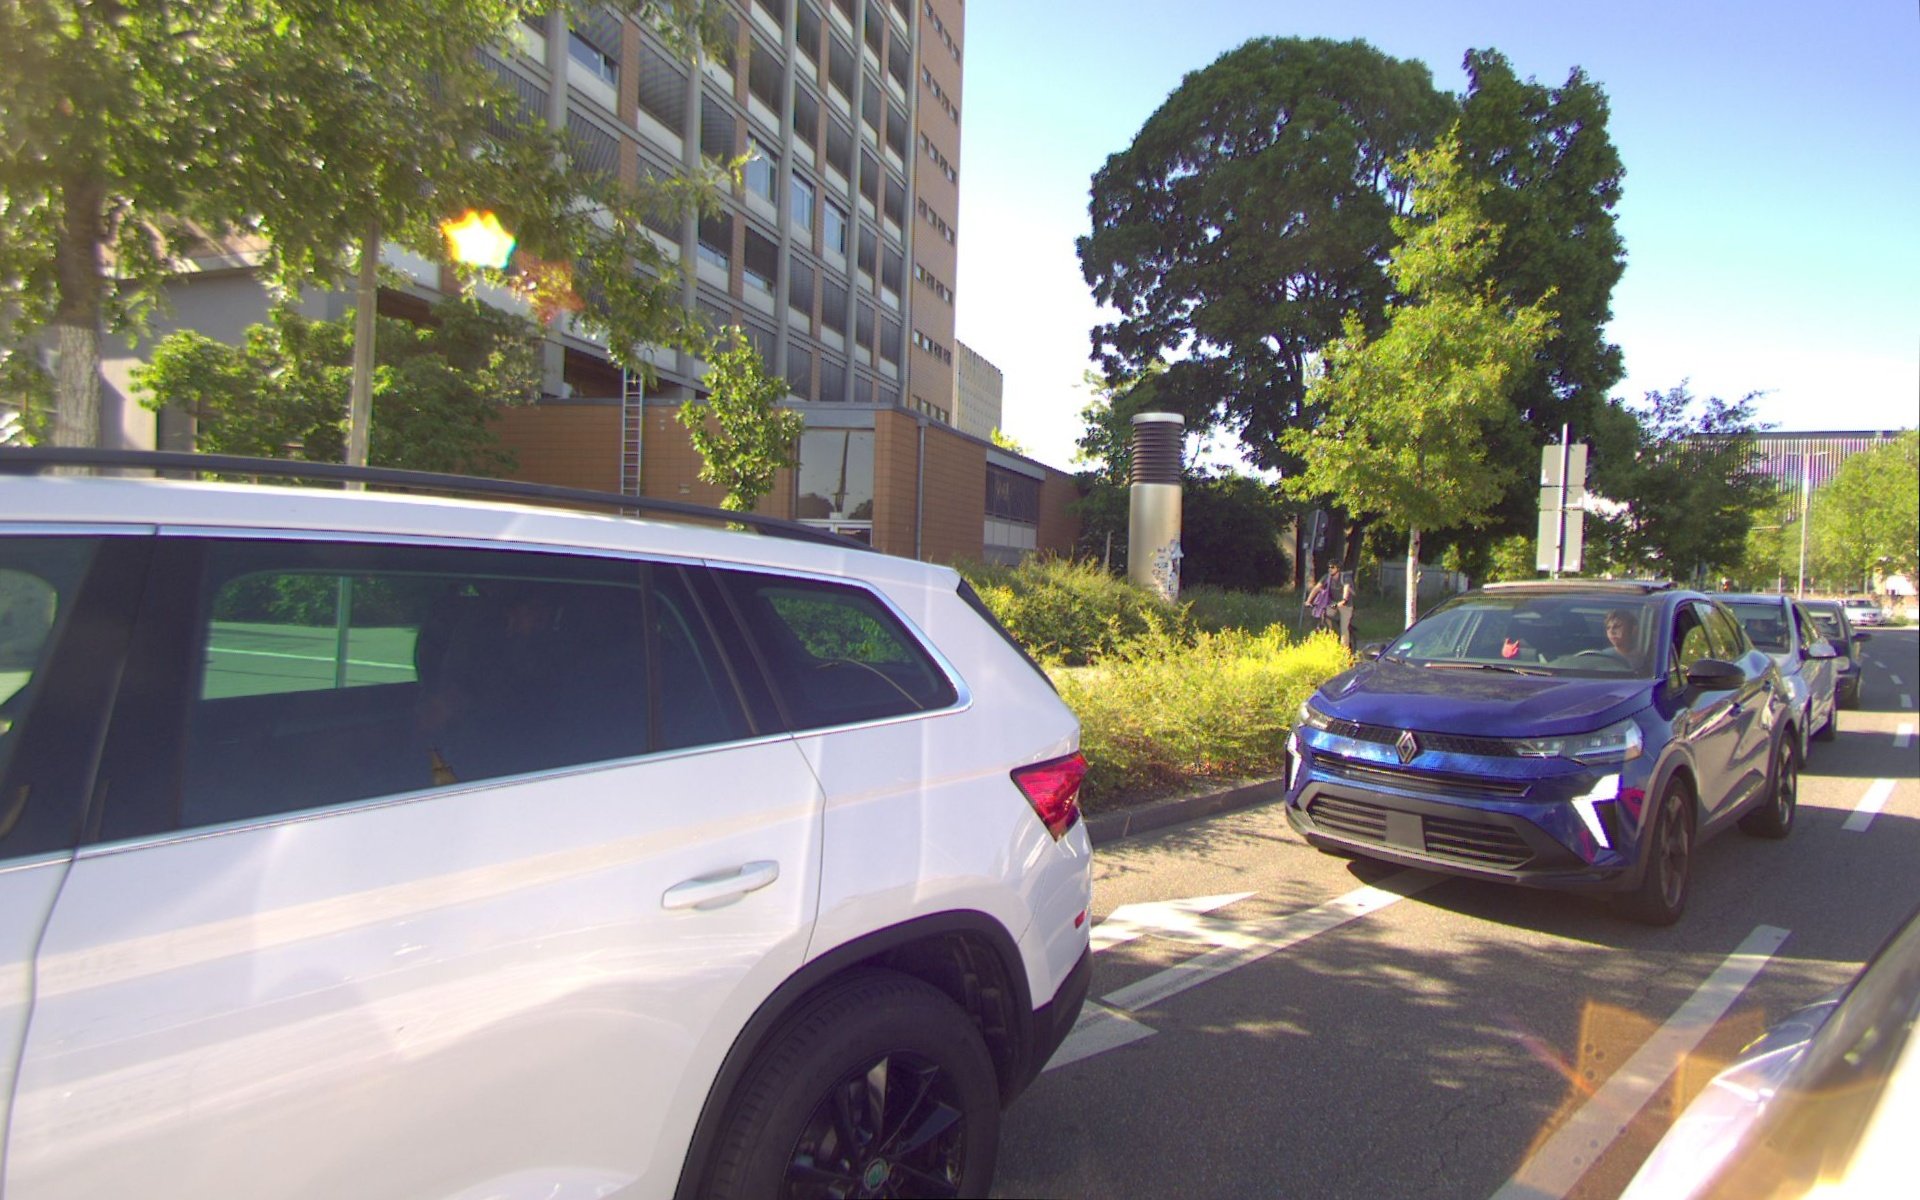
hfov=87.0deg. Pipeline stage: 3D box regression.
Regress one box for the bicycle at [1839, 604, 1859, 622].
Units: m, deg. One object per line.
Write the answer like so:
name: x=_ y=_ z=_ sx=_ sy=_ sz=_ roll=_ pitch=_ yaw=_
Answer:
bicycle: x=47.772 y=0.689 z=54.407 sx=0.586 sy=0.900 sz=1.635 roll=0 pitch=0 yaw=33

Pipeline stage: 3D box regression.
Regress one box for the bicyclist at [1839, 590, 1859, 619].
bicyclist: x=47.706 y=0.235 z=54.306 sx=0.690 sy=1.578 sz=0.806 roll=0 pitch=0 yaw=33

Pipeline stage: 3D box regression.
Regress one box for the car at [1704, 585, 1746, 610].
car: x=64.843 y=-0.252 z=85.854 sx=1.767 sy=2.039 sz=4.201 roll=1 pitch=1 yaw=22

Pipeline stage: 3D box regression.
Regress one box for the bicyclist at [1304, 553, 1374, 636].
bicyclist: x=6.281 y=-0.101 z=16.758 sx=0.720 sy=1.294 sz=0.893 roll=5 pitch=3 yaw=44

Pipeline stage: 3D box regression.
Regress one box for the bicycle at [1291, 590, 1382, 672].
bicycle: x=6.267 y=0.483 z=16.802 sx=0.690 sy=1.232 sz=1.805 roll=5 pitch=4 yaw=44

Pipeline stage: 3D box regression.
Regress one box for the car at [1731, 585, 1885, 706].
car: x=13.324 y=0.619 z=15.837 sx=1.646 sy=1.631 sz=3.435 roll=3 pitch=2 yaw=43

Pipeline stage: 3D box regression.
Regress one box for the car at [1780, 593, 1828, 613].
car: x=58.450 y=0.192 z=70.145 sx=1.569 sy=1.219 sz=3.967 roll=0 pitch=2 yaw=25

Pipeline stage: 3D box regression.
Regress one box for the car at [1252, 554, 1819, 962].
car: x=3.609 y=0.616 z=6.010 sx=4.013 sy=1.626 sz=1.704 roll=0 pitch=1 yaw=-41

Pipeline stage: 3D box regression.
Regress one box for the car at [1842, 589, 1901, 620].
car: x=52.718 y=0.231 z=58.595 sx=1.509 sy=1.700 sz=3.353 roll=1 pitch=0 yaw=24

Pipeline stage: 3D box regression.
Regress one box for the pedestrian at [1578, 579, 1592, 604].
pedestrian: x=48.402 y=-0.652 z=78.384 sx=0.811 sy=1.941 sz=0.767 roll=0 pitch=0 yaw=19

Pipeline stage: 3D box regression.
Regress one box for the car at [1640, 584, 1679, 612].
car: x=51.072 y=-0.173 z=73.970 sx=1.811 sy=1.876 sz=3.717 roll=2 pitch=1 yaw=27

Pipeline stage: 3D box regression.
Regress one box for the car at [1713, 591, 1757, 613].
car: x=52.388 y=0.119 z=68.475 sx=1.736 sy=1.396 sz=3.540 roll=1 pitch=1 yaw=27

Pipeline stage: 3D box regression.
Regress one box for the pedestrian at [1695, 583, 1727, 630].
pedestrian: x=26.262 y=0.211 z=35.412 sx=0.684 sy=1.624 sz=0.657 roll=2 pitch=1 yaw=20

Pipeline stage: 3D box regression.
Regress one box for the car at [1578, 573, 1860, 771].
car: x=8.078 y=0.596 z=10.635 sx=3.977 sy=1.645 sz=1.782 roll=0 pitch=2 yaw=-45

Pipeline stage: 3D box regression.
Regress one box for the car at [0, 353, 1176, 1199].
car: x=-1.617 y=0.543 z=1.675 sx=4.223 sy=1.662 sz=1.697 roll=0 pitch=2 yaw=-42

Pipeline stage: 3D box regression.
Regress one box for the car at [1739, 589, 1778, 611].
car: x=62.008 y=0.001 z=78.601 sx=1.578 sy=1.625 sz=3.048 roll=2 pitch=1 yaw=23

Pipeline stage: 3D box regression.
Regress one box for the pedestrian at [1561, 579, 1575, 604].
pedestrian: x=47.489 y=-0.658 z=79.084 sx=0.811 sy=1.941 sz=0.767 roll=0 pitch=0 yaw=19

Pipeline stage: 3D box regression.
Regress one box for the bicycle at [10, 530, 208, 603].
bicycle: x=-17.545 y=-0.676 z=21.009 sx=0.790 sy=1.394 sz=3.111 roll=2 pitch=1 yaw=26

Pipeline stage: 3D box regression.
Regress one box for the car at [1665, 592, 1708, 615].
car: x=48.737 y=0.221 z=67.958 sx=1.735 sy=1.494 sz=3.543 roll=0 pitch=1 yaw=26

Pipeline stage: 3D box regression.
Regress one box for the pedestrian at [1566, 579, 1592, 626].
pedestrian: x=21.890 y=0.065 z=35.798 sx=0.688 sy=1.624 sz=0.653 roll=2 pitch=1 yaw=35
